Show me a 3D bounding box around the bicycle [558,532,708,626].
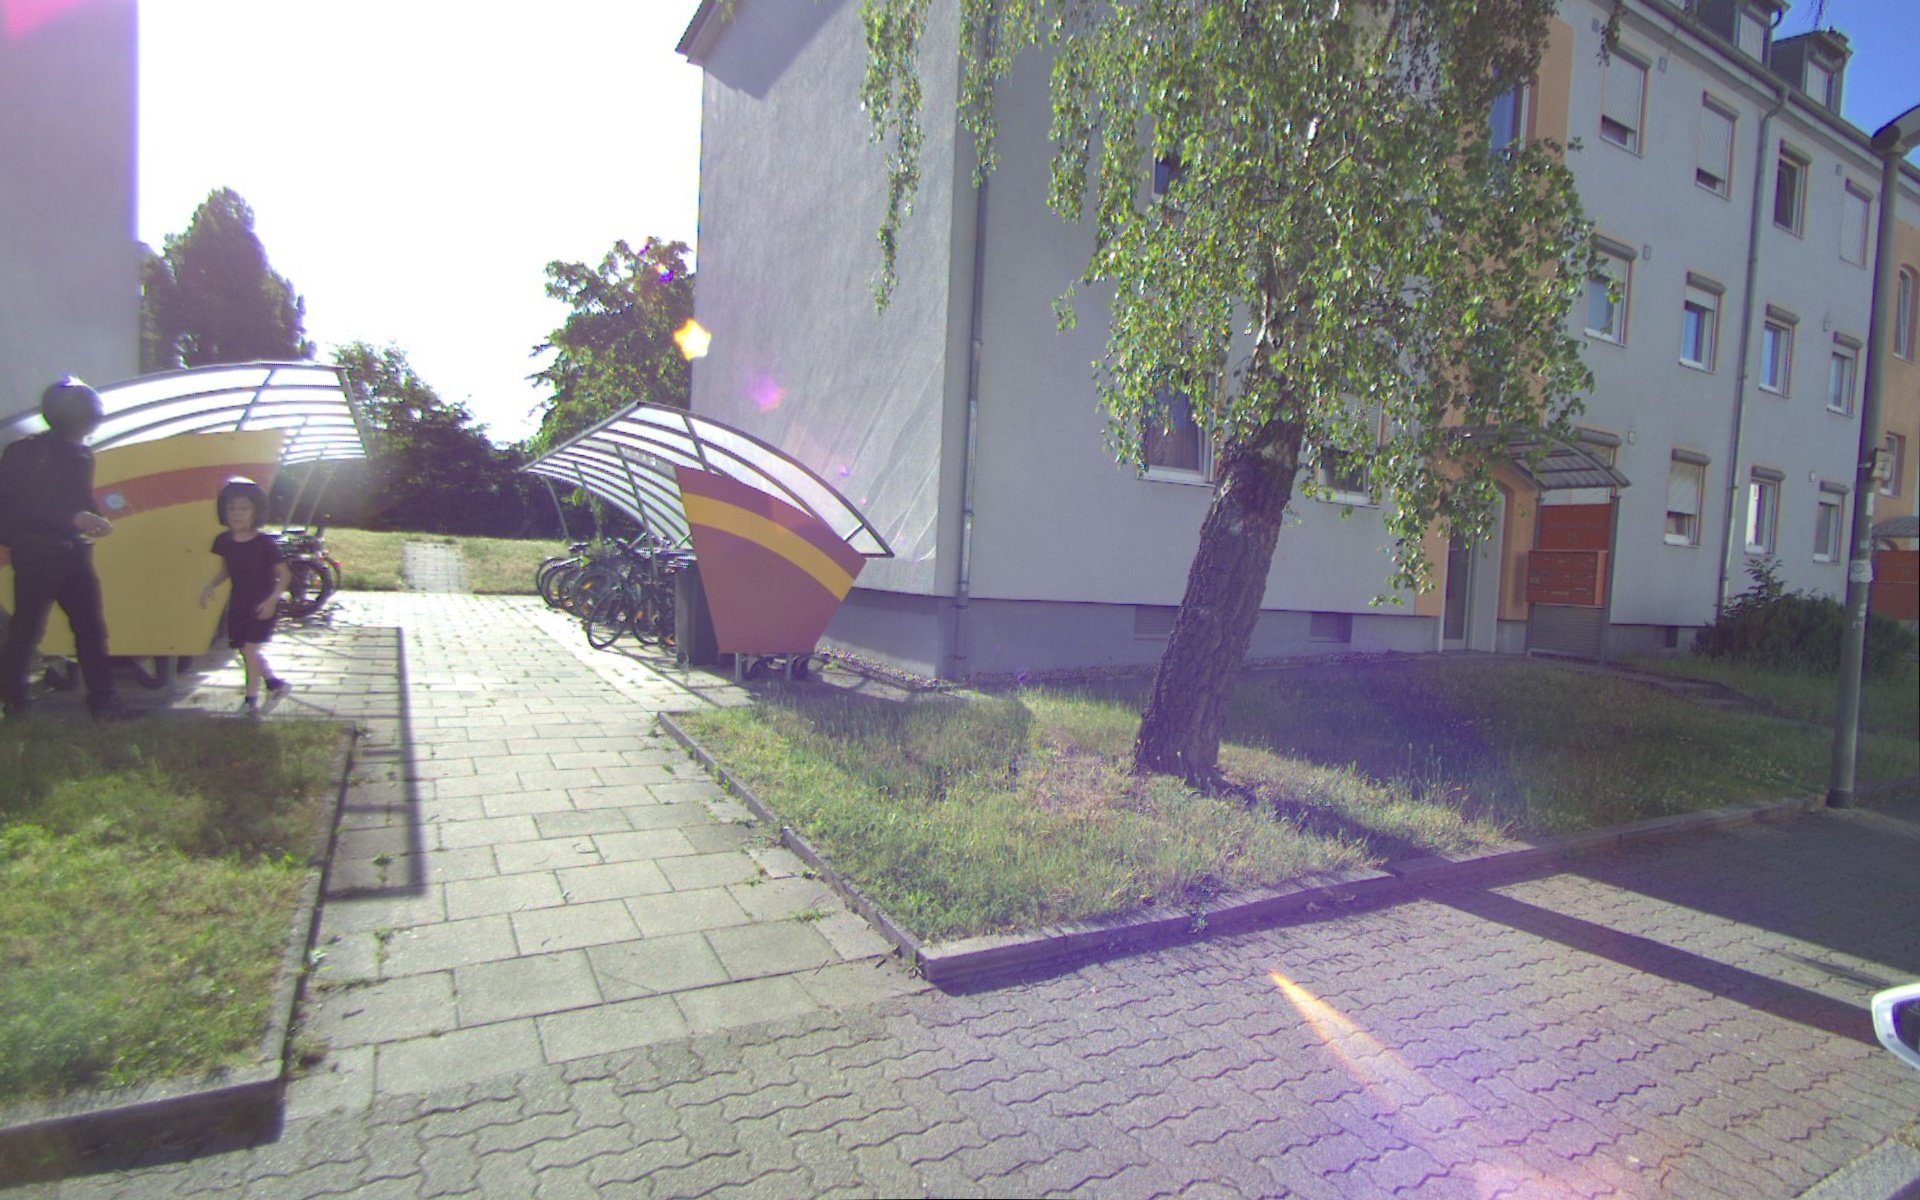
[{"bbox_3d":[-4.282,-0.256,13.206,1.814,1.169,0.427,1,1,-31],"label":"bicycle"}]

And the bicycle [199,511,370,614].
[{"bbox_3d":[-8.075,-0.423,12.089,1.666,1.160,0.459,1,1,-31],"label":"bicycle"}]

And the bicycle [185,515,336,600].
[{"bbox_3d":[-9.840,-0.583,14.199,1.701,1.119,0.524,1,2,-31],"label":"bicycle"}]

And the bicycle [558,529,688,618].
[{"bbox_3d":[-5.015,-0.380,15.010,1.769,1.252,0.466,1,1,-31],"label":"bicycle"}]

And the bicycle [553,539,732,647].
[{"bbox_3d":[-3.557,-0.067,11.303,1.828,1.132,0.529,1,3,-31],"label":"bicycle"}]

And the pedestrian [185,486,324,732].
[{"bbox_3d":[-4.106,0.044,5.887,0.568,1.335,0.683,1,2,-29],"label":"pedestrian"}]

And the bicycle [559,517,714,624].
[{"bbox_3d":[-4.568,-0.394,14.242,1.990,1.416,0.614,1,1,-31],"label":"bicycle"}]

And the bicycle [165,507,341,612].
[{"bbox_3d":[-8.672,-0.471,12.396,1.715,1.207,0.452,1,1,-31],"label":"bicycle"}]

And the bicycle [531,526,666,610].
[{"bbox_3d":[-5.705,-0.484,15.894,1.922,1.252,0.524,1,1,-31],"label":"bicycle"}]

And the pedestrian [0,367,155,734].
[{"bbox_3d":[-4.935,-0.257,5.462,0.709,1.848,0.802,1,2,-29],"label":"pedestrian"}]

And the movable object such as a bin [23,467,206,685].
[{"bbox_3d":[-6.028,-0.179,7.233,0.803,1.425,1.079,1,3,-29],"label":"movable object such as a bin"}]

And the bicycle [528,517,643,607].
[{"bbox_3d":[-6.276,-0.614,16.862,1.738,1.416,0.463,1,1,-31],"label":"bicycle"}]

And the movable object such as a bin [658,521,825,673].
[{"bbox_3d":[-2.192,-0.056,9.937,1.213,1.354,1.381,1,4,-30],"label":"movable object such as a bin"}]

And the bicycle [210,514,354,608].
[{"bbox_3d":[-8.769,-0.488,13.050,1.509,1.142,0.403,1,1,-31],"label":"bicycle"}]

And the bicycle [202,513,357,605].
[{"bbox_3d":[-9.244,-0.538,13.713,1.701,1.156,0.524,1,1,-31],"label":"bicycle"}]

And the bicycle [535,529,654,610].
[{"bbox_3d":[-5.962,-0.481,16.427,1.750,1.235,0.499,1,1,-31],"label":"bicycle"}]
